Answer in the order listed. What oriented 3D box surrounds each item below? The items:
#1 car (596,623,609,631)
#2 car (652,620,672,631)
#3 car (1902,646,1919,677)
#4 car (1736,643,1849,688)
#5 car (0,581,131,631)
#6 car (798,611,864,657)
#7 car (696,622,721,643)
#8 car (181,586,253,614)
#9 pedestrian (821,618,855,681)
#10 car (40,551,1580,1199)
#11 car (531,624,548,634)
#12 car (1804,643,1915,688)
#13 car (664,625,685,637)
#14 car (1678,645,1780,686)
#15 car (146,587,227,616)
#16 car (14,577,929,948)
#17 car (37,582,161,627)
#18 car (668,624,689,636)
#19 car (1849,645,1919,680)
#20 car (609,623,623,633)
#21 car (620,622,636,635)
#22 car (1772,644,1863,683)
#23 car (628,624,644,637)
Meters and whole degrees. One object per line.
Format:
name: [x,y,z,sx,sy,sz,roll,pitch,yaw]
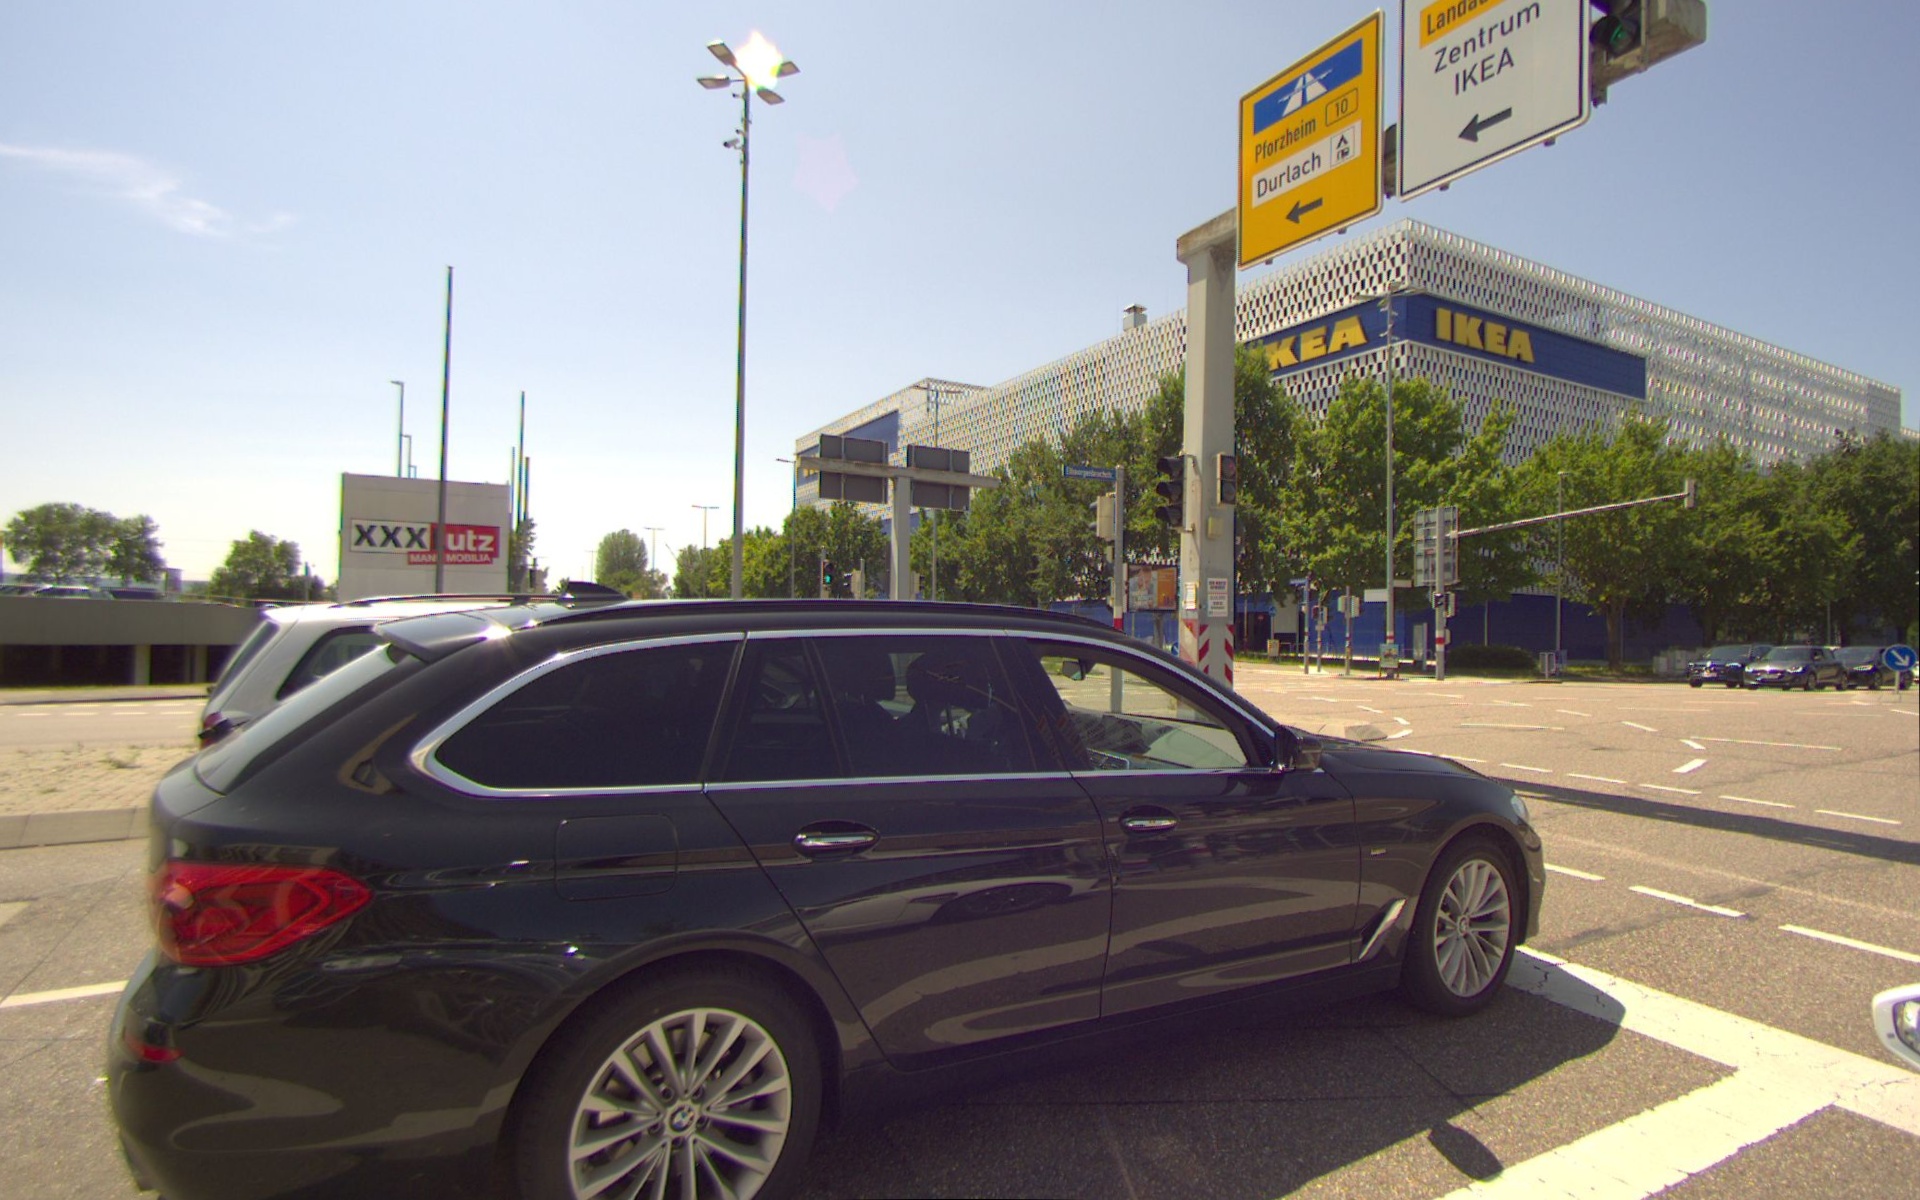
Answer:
car: [-60.668,4.540,170.448,1.608,1.368,3.472,2,-2,-29]
car: [-42.867,3.675,144.527,1.976,1.572,3.970,2,-2,-29]
car: [48.113,3.040,49.272,3.954,1.505,1.735,3,-3,-31]
car: [27.214,2.161,32.838,3.671,1.407,1.637,3,-4,-30]
car: [-39.412,0.285,44.174,4.284,2.040,1.982,2,-2,-34]
car: [-6.702,1.724,51.595,1.973,2.212,5.019,1,-2,-25]
car: [-26.006,3.353,103.948,1.750,2.040,3.813,1,-2,-26]
car: [-58.258,0.022,78.870,4.278,2.040,1.985,2,-2,-30]
pedestrian: [-3.565,1.433,29.279,0.816,1.807,0.601,2,-2,-27]
car: [0.044,0.723,3.513,4.505,1.459,1.788,2,-1,-31]
car: [-62.143,4.267,148.390,1.836,1.528,3.971,2,-2,-28]
car: [32.338,2.362,36.089,4.193,1.524,1.719,3,-4,-30]
car: [-39.003,4.255,137.264,1.975,1.572,3.972,2,-2,-27]
car: [28.732,2.459,37.498,3.992,1.442,1.653,3,-3,-31]
car: [-52.738,0.134,68.550,4.086,1.764,1.770,2,-2,-30]
car: [-2.317,0.659,5.596,3.959,1.441,1.685,1,0,-29]
car: [-42.051,0.261,49.201,4.285,2.040,1.981,2,-2,-34]
car: [-41.742,4.473,148.921,2.031,1.769,3.860,2,-2,-29]
car: [42.409,2.869,45.834,3.870,1.505,1.642,3,-3,-31]
car: [-55.402,4.535,161.840,1.608,1.629,3.471,2,-2,-29]
car: [-49.336,4.205,149.189,1.609,1.938,3.471,2,-2,-30]
car: [35.652,2.644,41.738,3.870,1.564,1.718,3,-3,-31]
car: [-46.323,4.298,143.596,1.607,1.835,3.474,1,-2,-27]
